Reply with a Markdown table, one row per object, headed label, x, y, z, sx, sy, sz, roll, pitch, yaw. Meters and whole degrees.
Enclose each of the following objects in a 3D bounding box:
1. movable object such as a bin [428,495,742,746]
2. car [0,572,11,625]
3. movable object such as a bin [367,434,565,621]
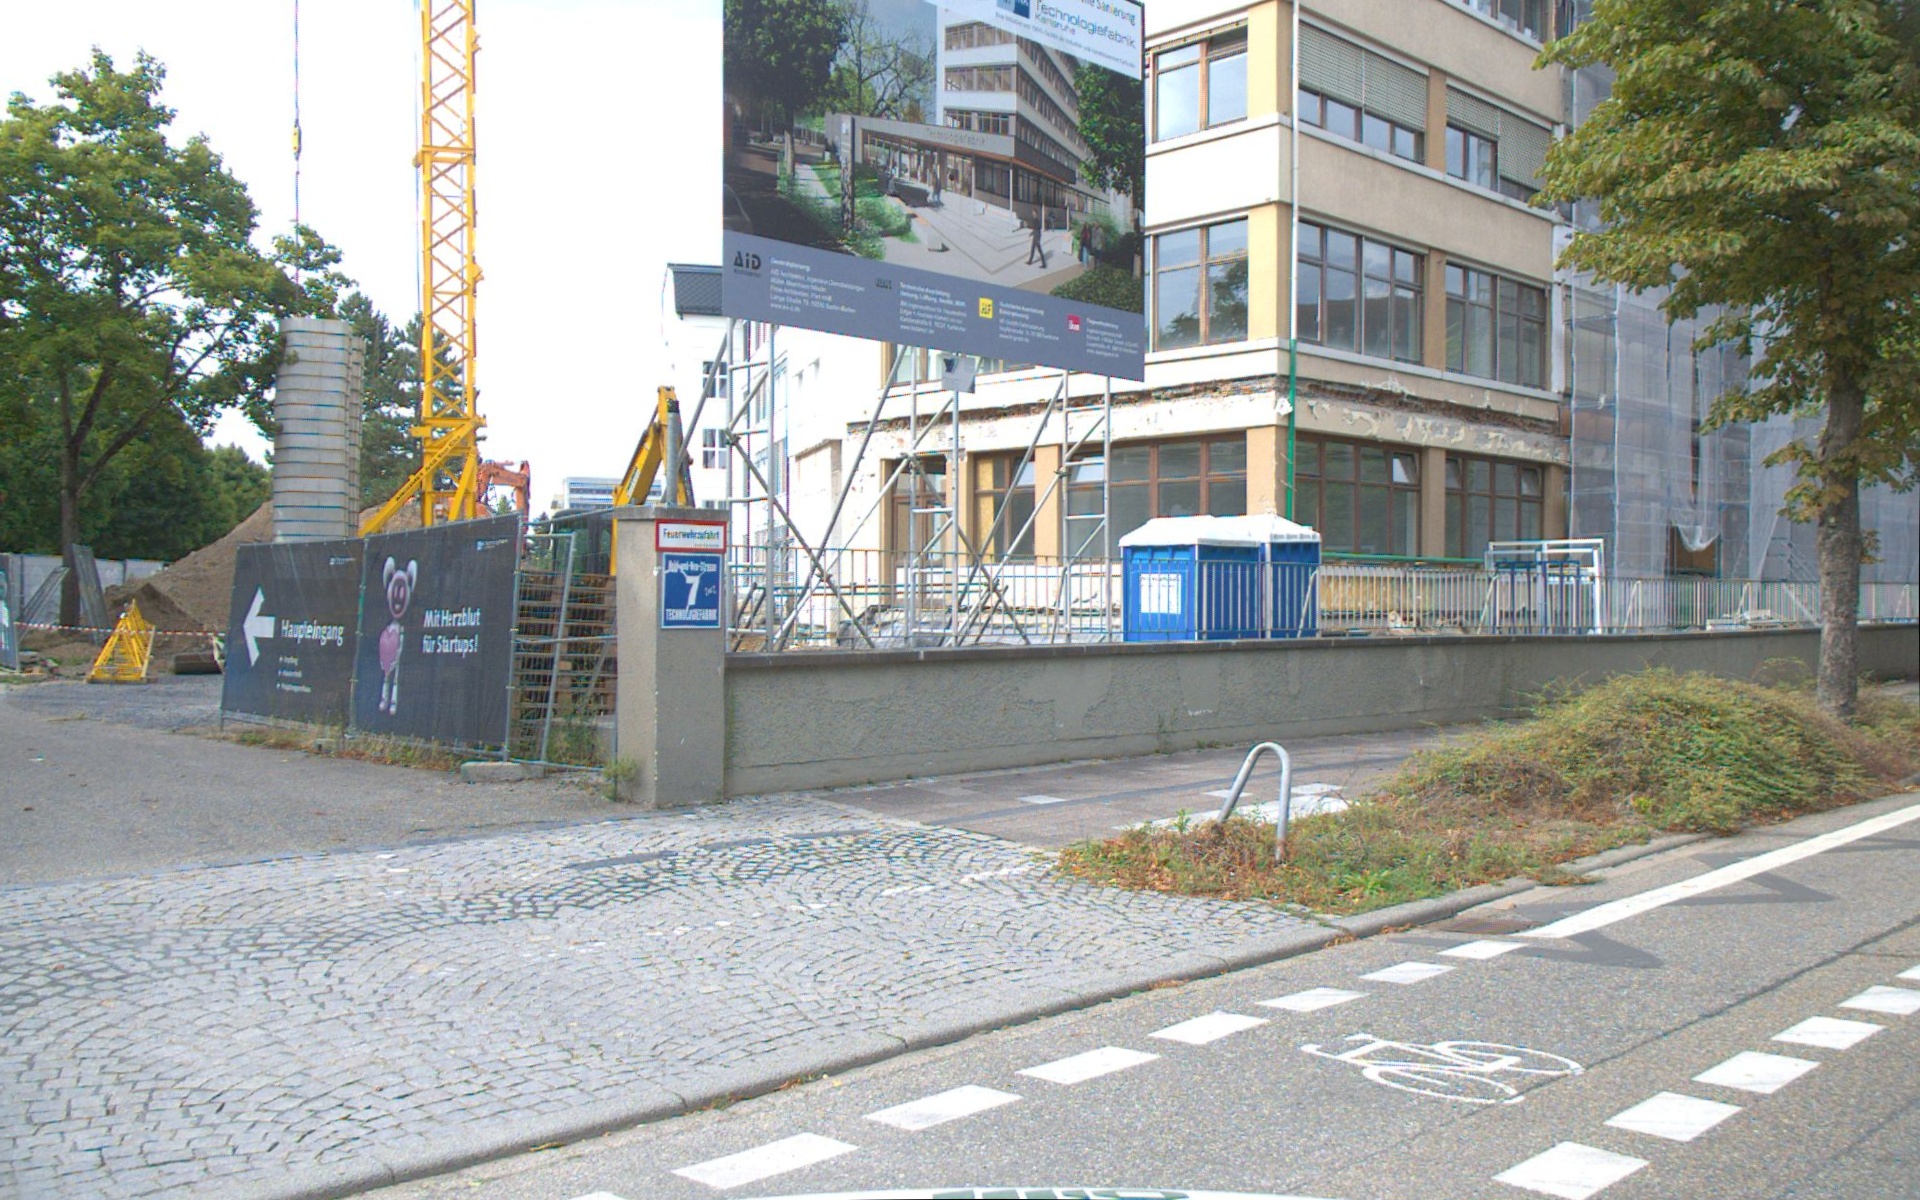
| label | x | y | z | sx | sy | sz | roll | pitch | yaw |
| --- | --- | --- | --- | --- | --- | --- | --- | --- | --- |
| movable object such as a bin | -4.200 | 0.201 | 18.296 | 2.468 | 2.486 | 3.024 | 0 | 0 | -35 |
| car | -38.192 | -0.059 | 61.251 | 4.970 | 1.987 | 1.989 | 0 | 0 | -20 |
| movable object such as a bin | -19.340 | -2.677 | 65.799 | 3.763 | 6.786 | 10.994 | 0 | 0 | 5 |
